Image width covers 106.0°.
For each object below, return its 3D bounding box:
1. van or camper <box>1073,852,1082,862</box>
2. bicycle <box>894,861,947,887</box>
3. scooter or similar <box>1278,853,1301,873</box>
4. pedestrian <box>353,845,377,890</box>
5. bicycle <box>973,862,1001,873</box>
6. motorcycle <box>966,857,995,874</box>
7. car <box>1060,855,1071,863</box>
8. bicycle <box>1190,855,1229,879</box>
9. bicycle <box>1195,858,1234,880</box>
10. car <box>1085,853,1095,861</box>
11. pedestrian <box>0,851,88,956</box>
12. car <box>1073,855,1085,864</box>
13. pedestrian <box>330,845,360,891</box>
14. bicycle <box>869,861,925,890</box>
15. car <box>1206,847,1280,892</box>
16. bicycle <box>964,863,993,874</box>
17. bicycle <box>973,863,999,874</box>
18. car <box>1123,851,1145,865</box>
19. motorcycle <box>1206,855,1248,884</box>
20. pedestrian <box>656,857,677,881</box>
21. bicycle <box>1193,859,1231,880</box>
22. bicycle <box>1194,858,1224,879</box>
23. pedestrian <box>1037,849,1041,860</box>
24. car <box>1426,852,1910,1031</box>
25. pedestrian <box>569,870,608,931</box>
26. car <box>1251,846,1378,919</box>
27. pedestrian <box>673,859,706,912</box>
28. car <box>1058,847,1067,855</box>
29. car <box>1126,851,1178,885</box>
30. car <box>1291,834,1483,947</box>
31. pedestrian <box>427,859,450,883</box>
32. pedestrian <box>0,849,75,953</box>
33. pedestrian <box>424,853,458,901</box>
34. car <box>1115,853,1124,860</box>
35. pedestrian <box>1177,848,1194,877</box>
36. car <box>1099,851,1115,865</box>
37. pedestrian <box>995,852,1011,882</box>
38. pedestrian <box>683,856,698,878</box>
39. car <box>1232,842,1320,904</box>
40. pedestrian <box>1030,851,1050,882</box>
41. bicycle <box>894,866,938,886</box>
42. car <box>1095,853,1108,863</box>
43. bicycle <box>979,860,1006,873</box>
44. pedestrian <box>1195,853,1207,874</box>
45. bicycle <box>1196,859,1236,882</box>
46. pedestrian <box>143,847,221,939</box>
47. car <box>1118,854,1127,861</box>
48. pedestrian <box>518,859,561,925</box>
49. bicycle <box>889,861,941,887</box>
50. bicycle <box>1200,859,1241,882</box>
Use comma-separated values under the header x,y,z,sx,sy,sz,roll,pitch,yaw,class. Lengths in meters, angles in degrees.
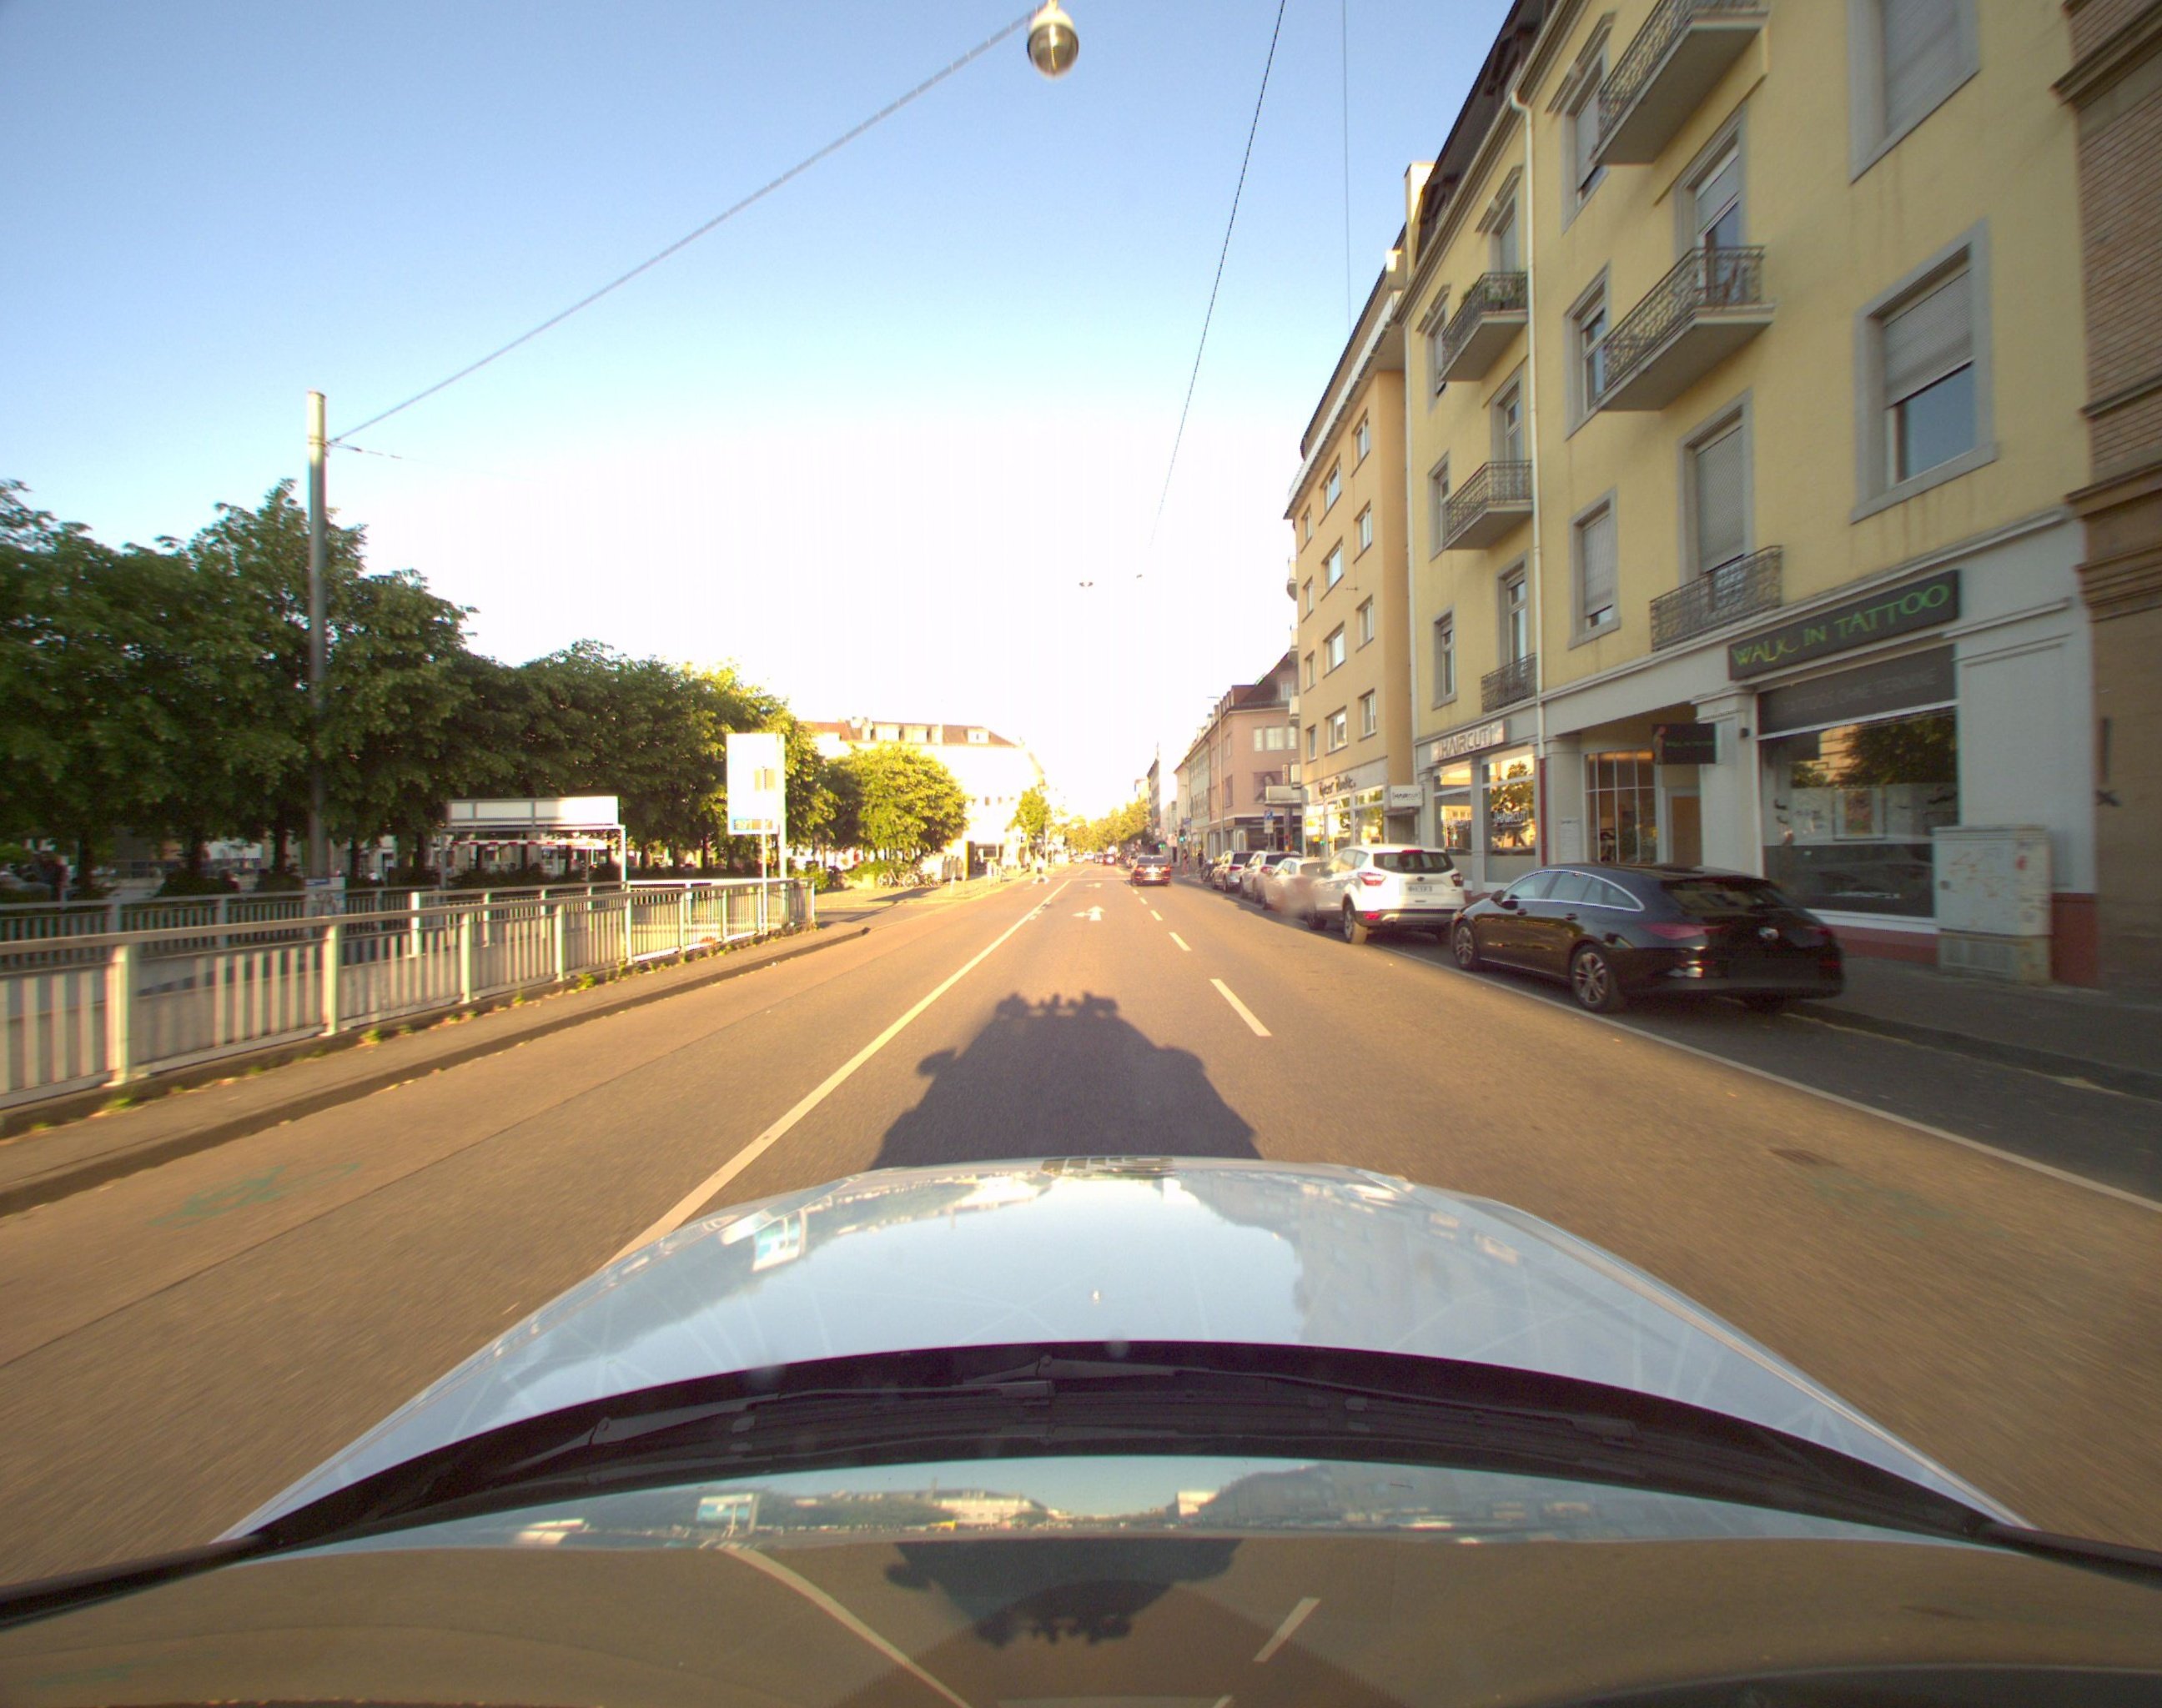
x,y,z,sx,sy,sz,roll,pitch,yaw,class
-0.942,0.784,216.497,2.466,2.405,3.996,0,0,-2,van or camper
-7.757,0.952,39.442,2.423,1.237,0.517,1,0,-1,bicycle
13.214,0.576,51.671,1.305,1.264,0.527,-1,0,23,scooter or similar
-31.436,0.602,35.784,0.734,1.948,0.795,-1,0,-39,pedestrian
-8.841,1.259,76.486,2.516,0.997,0.933,-1,0,-1,bicycle
-8.787,0.969,71.219,2.405,1.426,1.113,-1,0,0,motorcycle
-3.027,0.986,158.614,1.886,1.596,4.003,-1,0,3,car
6.678,0.685,42.322,1.879,1.167,0.722,-1,0,-2,bicycle
6.759,0.765,41.367,1.879,1.112,0.601,-1,0,-2,bicycle
2.028,0.588,180.266,1.985,1.750,4.003,-1,0,3,car
-20.639,0.953,16.183,0.903,2.013,0.924,-1,0,24,pedestrian
-0.322,0.936,146.045,1.886,1.596,4.003,-1,0,3,car
-32.025,0.612,35.440,0.807,1.948,0.681,-1,0,-28,pedestrian
-8.566,1.000,37.943,2.482,1.284,0.820,-1,0,22,bicycle
6.383,0.585,32.615,1.987,1.613,4.803,-1,0,0,car
-9.151,1.314,73.035,2.516,0.919,0.700,-1,0,-1,bicycle
-8.692,1.292,74.371,2.320,0.919,0.700,-1,0,-1,bicycle
5.947,0.434,91.307,2.325,1.604,3.895,-1,0,2,car
6.787,0.715,37.967,1.807,1.263,0.715,-2,0,-2,motorcycle
-31.376,1.116,61.650,0.700,1.778,1.201,-1,-1,36,pedestrian
6.929,0.809,43.127,1.879,1.112,0.761,-1,0,-2,bicycle
6.857,0.770,43.731,1.496,1.026,0.512,-2,0,-3,bicycle
-7.005,0.056,135.553,0.681,1.721,0.702,-1,0,2,pedestrian
5.779,0.703,9.022,1.986,1.434,4.852,-1,0,2,car
-16.126,1.500,26.671,0.796,1.948,0.733,-1,0,14,pedestrian
5.770,0.629,20.801,2.008,1.543,4.872,-1,1,2,car
-14.768,1.186,30.715,0.796,1.948,0.733,-1,0,14,pedestrian
-4.668,-0.671,205.800,1.820,2.013,3.679,-1,0,3,car
3.223,0.604,37.828,1.884,1.492,4.201,-1,0,-2,car
5.373,0.515,15.013,1.875,1.745,4.661,-1,1,1,car
-40.334,1.070,51.110,0.984,1.501,0.980,-1,0,-30,pedestrian
-21.169,0.908,16.407,0.903,2.013,0.924,-1,0,24,pedestrian
-26.426,0.928,33.638,0.797,1.948,0.732,-1,0,9,pedestrian
9.051,0.690,190.262,1.889,1.596,3.998,-1,0,-2,car
6.228,0.505,48.491,0.793,1.720,0.810,-1,0,-6,pedestrian
3.377,0.441,105.269,1.986,1.750,4.002,-1,0,2,car
-4.530,0.721,47.185,0.882,1.720,0.713,0,0,-10,pedestrian
-30.755,1.021,64.151,0.885,1.778,0.714,-1,-1,39,pedestrian
6.196,0.529,26.401,1.861,1.762,4.410,-1,1,1,car
-2.300,0.687,45.547,0.872,1.720,0.754,0,0,-24,pedestrian
-8.240,1.101,40.718,2.037,0.971,0.636,1,0,-1,bicycle
3.354,0.673,131.221,1.877,1.486,4.003,-1,0,3,car
-8.587,1.211,79.161,2.516,1.146,0.700,-1,0,-1,bicycle
10.183,0.788,69.024,0.755,1.777,1.047,-1,0,-3,pedestrian
6.767,0.805,40.827,1.879,1.112,0.521,-1,0,-2,bicycle
-20.218,0.851,18.328,0.903,2.013,0.924,-1,0,24,pedestrian
9.075,0.717,177.298,1.776,1.596,3.632,-1,0,-2,car
-16.502,1.149,24.830,0.796,1.948,0.733,-1,0,14,pedestrian
-8.165,0.985,40.131,2.423,1.237,0.462,-1,0,-1,bicycle
6.854,0.827,39.991,1.879,1.112,0.593,-1,-2,-2,bicycle
